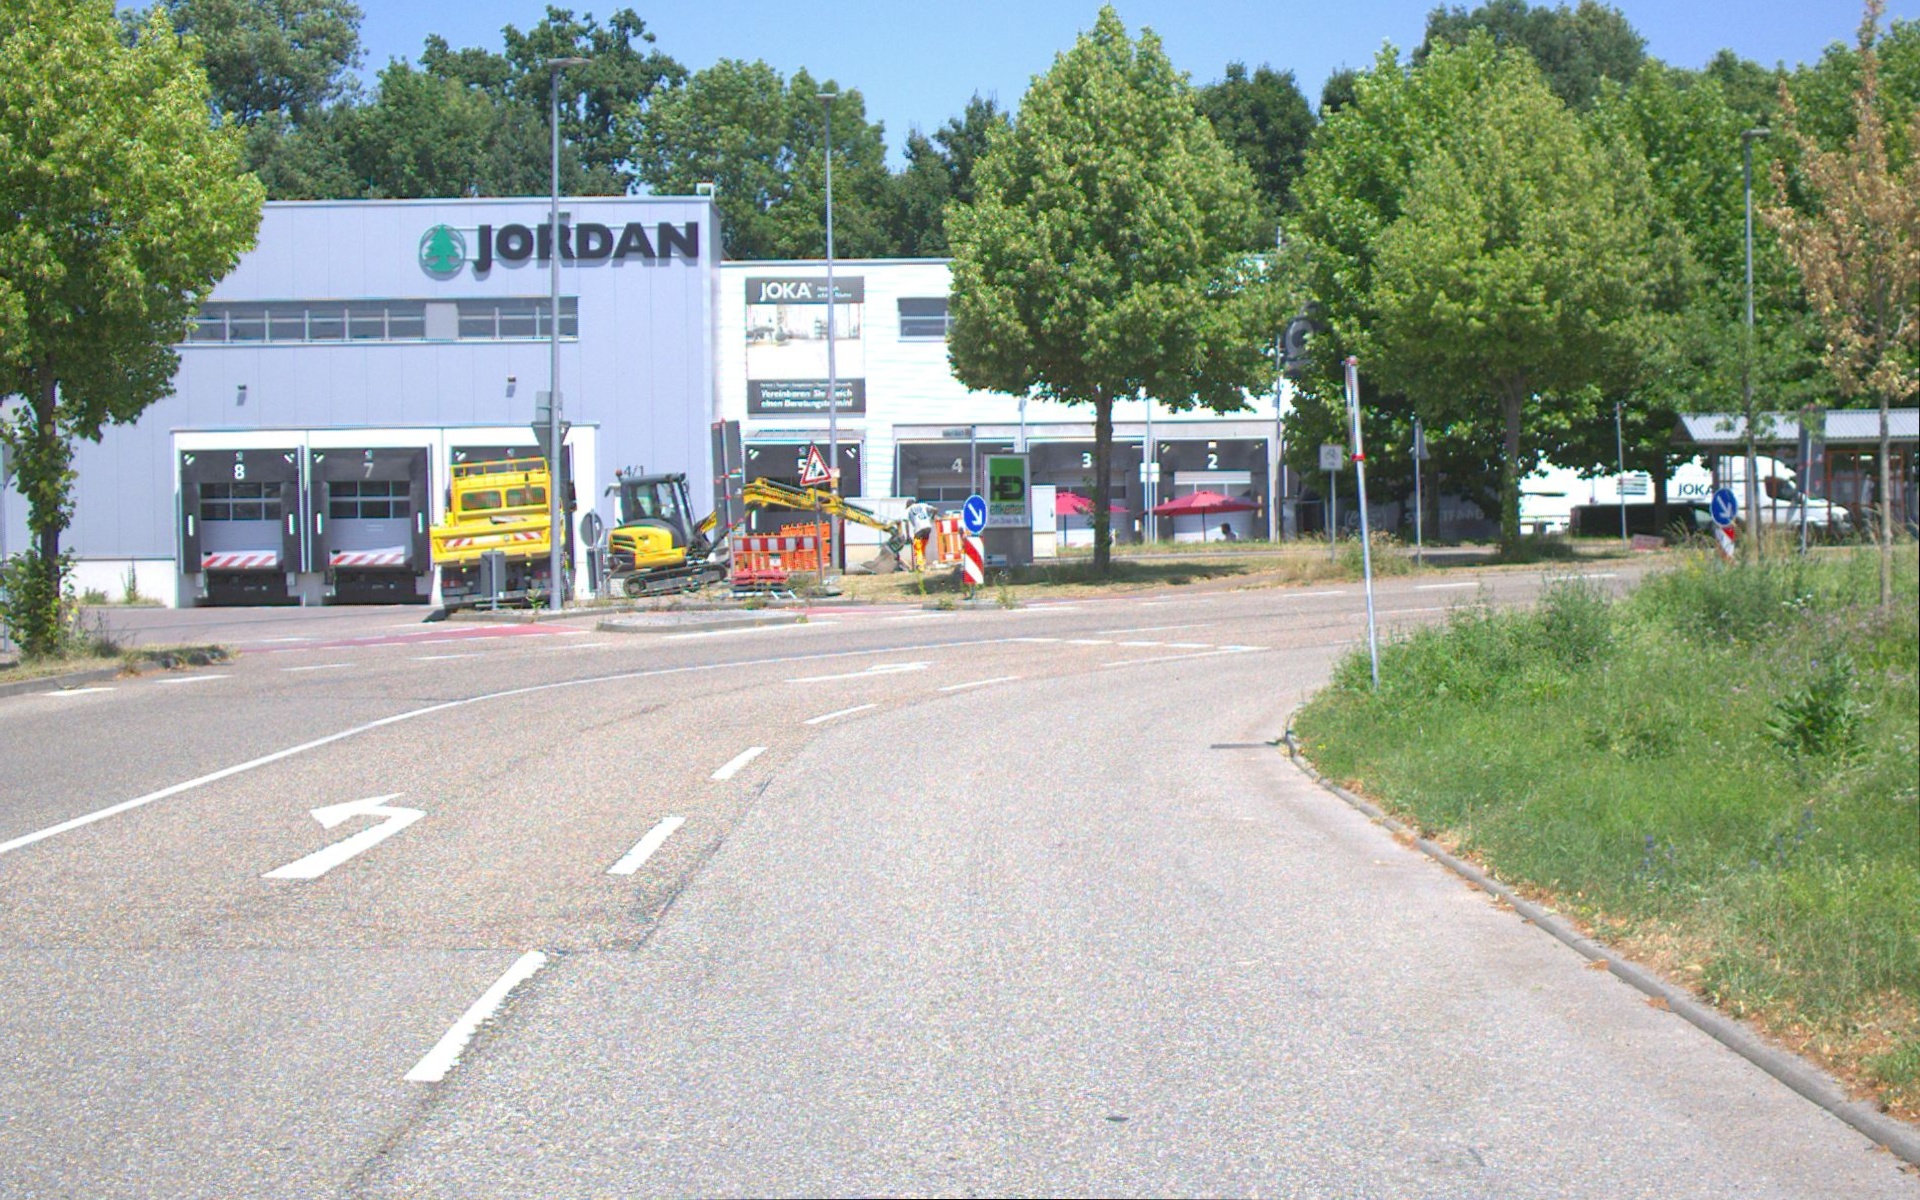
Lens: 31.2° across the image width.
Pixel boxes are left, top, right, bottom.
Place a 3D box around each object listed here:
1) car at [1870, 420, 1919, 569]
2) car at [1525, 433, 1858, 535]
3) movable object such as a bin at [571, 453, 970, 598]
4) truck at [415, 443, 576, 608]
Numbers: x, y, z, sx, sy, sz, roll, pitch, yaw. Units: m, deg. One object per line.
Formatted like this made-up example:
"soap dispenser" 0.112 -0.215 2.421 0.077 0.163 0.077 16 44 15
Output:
"car" 11.378 -1.127 34.140 4.162 1.395 1.769 -2 5 -4
"car" 16.733 -2.650 78.904 7.172 2.080 2.000 -2 1 3
"movable object such as a bin" -3.788 -1.546 70.322 7.528 2.491 3.666 -2 5 7
"truck" -9.504 -1.580 69.899 2.938 2.875 5.812 -3 5 -9
